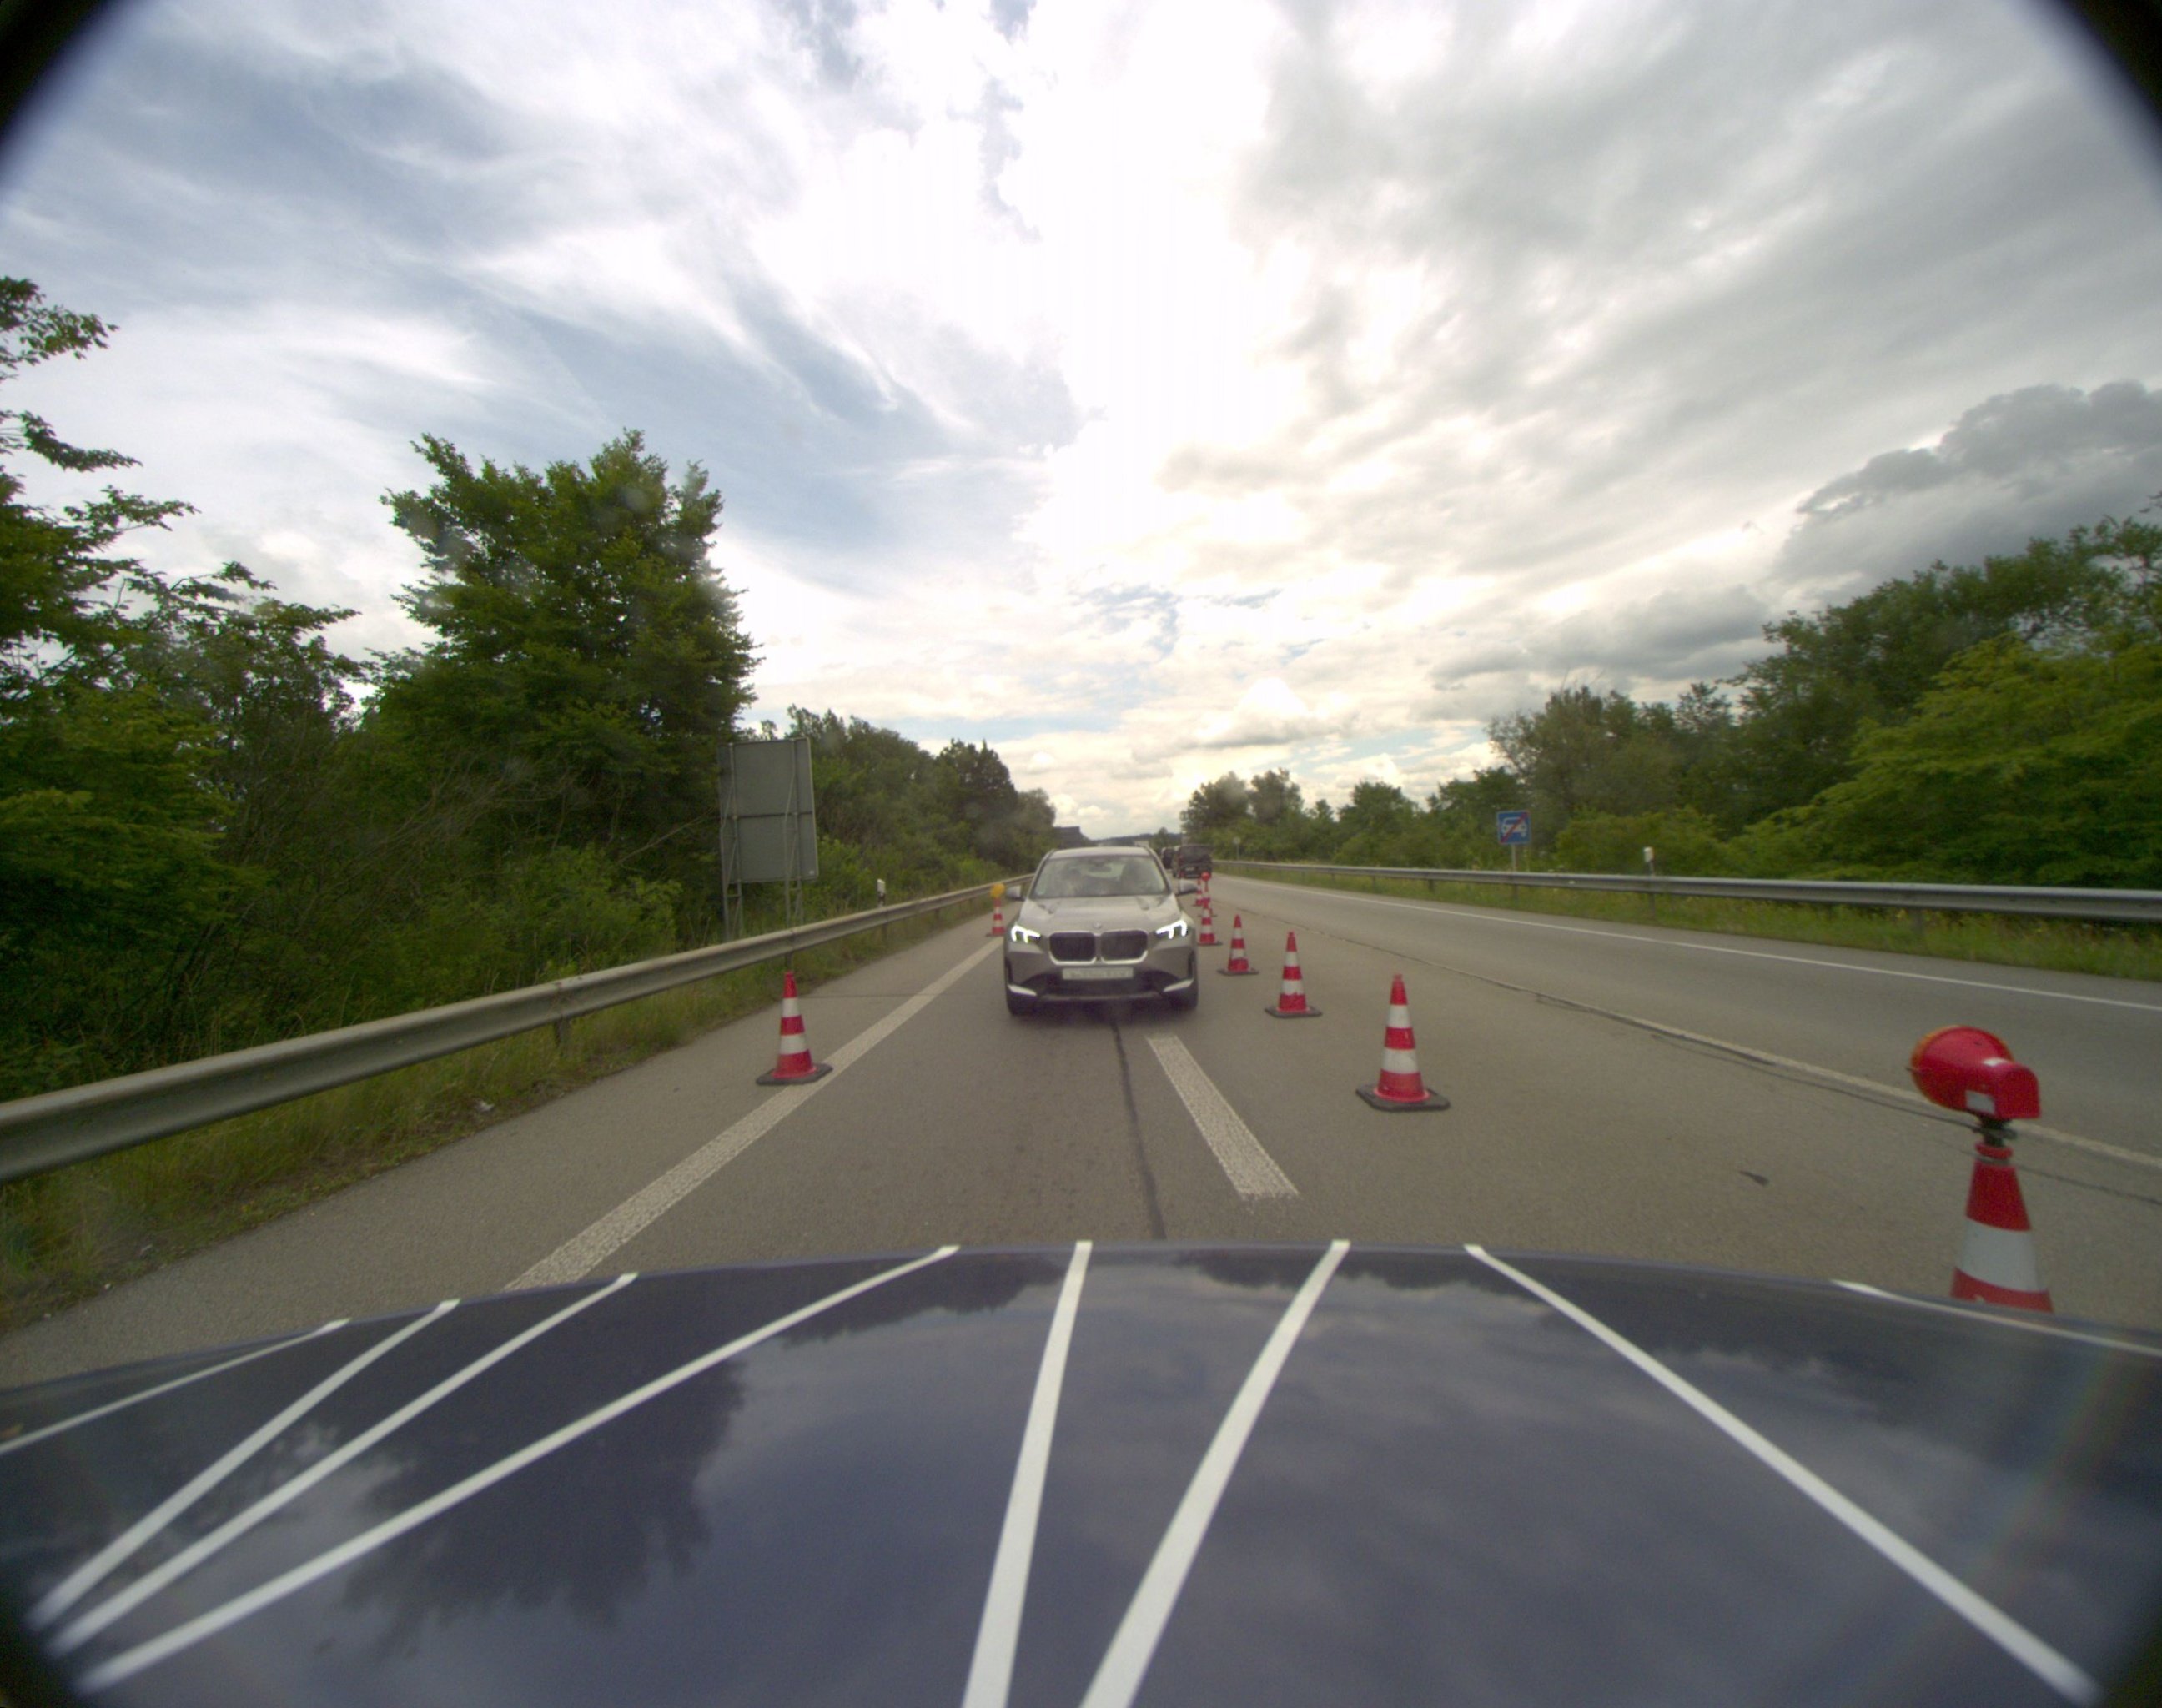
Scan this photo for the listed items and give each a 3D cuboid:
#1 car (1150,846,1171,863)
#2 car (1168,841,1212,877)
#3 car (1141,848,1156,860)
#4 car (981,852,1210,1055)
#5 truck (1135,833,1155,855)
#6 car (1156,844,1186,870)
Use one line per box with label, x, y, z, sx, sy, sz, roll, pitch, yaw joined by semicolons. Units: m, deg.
car;8.816;0.065;84.465;1.929;1.820;4.533;-2;0;3
car;6.361;0.261;44.983;2.034;1.976;5.316;-2;0;3
car;10.000;-0.034;112.804;1.929;1.596;4.533;-2;0;3
car;0.216;0.814;8.432;1.817;1.598;4.433;-2;0;3
truck;11.585;-1.796;138.245;3.113;3.682;9.544;-2;0;2
car;6.995;0.226;59.370;1.971;1.873;4.533;-2;0;3
